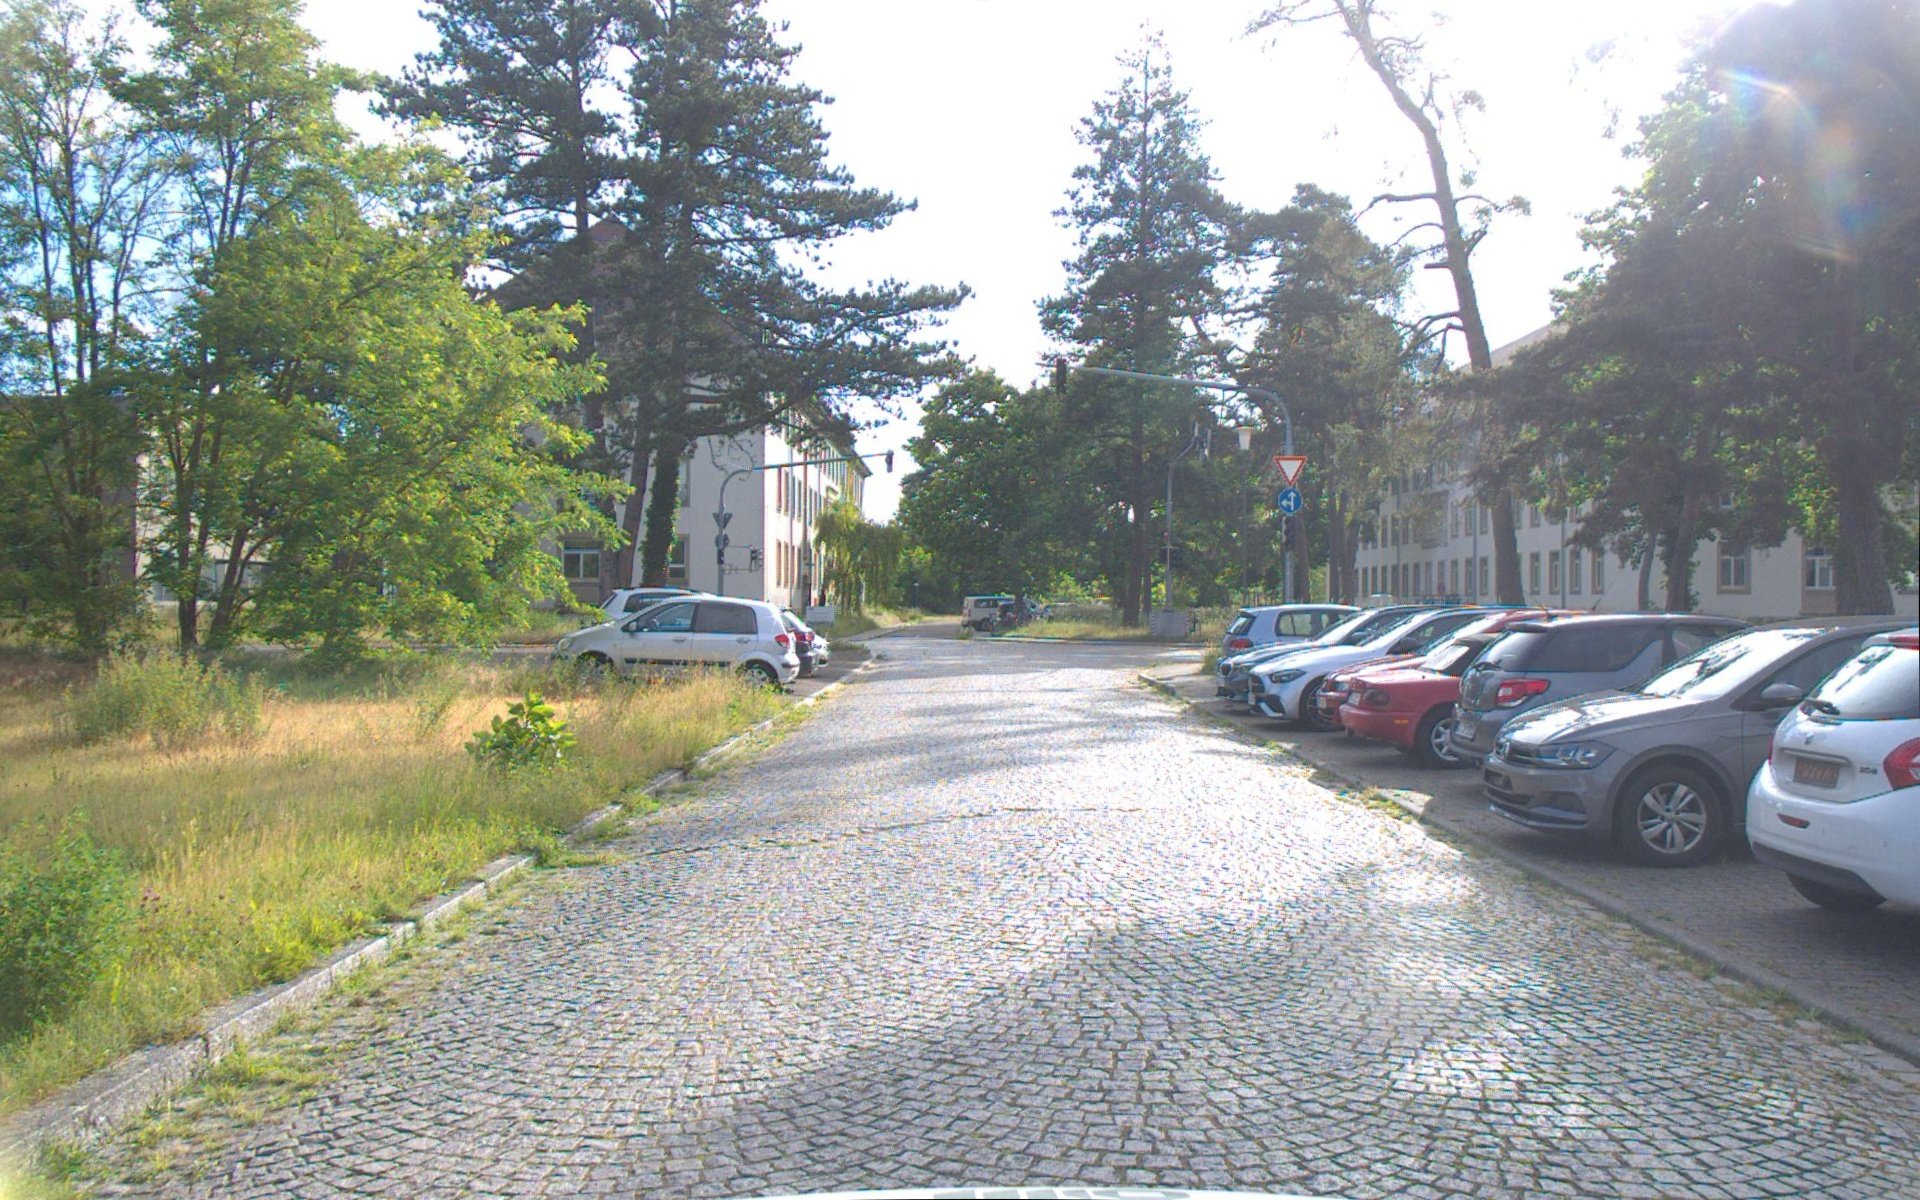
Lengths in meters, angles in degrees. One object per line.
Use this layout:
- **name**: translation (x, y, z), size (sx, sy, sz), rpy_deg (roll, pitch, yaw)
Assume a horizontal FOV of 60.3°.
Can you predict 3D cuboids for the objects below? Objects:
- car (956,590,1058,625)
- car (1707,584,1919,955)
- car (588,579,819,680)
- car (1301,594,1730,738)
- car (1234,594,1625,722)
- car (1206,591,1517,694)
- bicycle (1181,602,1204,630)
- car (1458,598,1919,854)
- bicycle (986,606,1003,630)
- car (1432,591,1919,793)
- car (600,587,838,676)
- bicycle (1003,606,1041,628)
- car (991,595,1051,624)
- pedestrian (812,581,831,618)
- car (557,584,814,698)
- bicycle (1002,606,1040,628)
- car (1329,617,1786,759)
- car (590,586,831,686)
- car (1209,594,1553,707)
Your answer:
- **car**: translation (2.653, 0.427, 93.356), size (5.407, 1.949, 2.246), rpy_deg (0, -1, -14)
- **car**: translation (5.858, 0.703, 7.858), size (3.795, 1.557, 1.808), rpy_deg (-1, -1, 0)
- **car**: translation (-4.700, 0.542, 30.802), size (4.041, 1.627, 1.857), rpy_deg (3, -1, -5)
- **car**: translation (6.151, 0.718, 18.655), size (4.252, 1.499, 1.739), rpy_deg (-1, -1, 0)
- **car**: translation (5.830, 0.711, 20.926), size (4.414, 1.499, 1.849), rpy_deg (-1, -1, 0)
- **car**: translation (6.305, 0.655, 26.330), size (4.452, 1.532, 1.932), rpy_deg (-1, -1, -2)
- **bicycle**: translation (8.881, 0.598, 63.240), size (0.551, 1.016, 1.751), rpy_deg (0, 1, -4)
- **car**: translation (5.436, 0.745, 10.715), size (3.870, 1.493, 1.831), rpy_deg (-1, -1, 0)
- **bicycle**: translation (1.534, 0.790, 73.828), size (0.713, 1.016, 1.799), rpy_deg (0, 1, 0)
- **car**: translation (6.077, 0.717, 13.638), size (3.870, 1.521, 1.772), rpy_deg (-1, -1, 0)
- **car**: translation (-4.779, 0.614, 33.344), size (4.495, 1.481, 1.903), rpy_deg (3, 1, -2)
- **bicycle**: translation (2.892, 0.795, 77.417), size (1.756, 1.016, 0.644), rpy_deg (0, 1, -1)
- **car**: translation (3.295, 0.526, 89.788), size (2.979, 1.491, 1.714), rpy_deg (0, -1, -13)
- **pedestrian**: translation (-7.530, -0.029, 89.784), size (0.965, 1.998, 0.932), rpy_deg (0, -1, 0)
- **car**: translation (-4.149, 0.616, 25.452), size (3.609, 1.499, 1.849), rpy_deg (3, -1, -2)
- **bicycle**: translation (2.894, 0.806, 78.437), size (1.756, 1.016, 0.644), rpy_deg (0, 1, -1)
- **car**: translation (5.756, 0.825, 16.277), size (3.870, 1.283, 1.726), rpy_deg (-1, -1, 0)
- **car**: translation (-4.172, 0.601, 28.108), size (3.751, 1.454, 1.858), rpy_deg (3, -1, -1)
- **car**: translation (5.950, 0.696, 23.704), size (4.417, 1.499, 1.894), rpy_deg (-1, -1, -4)
